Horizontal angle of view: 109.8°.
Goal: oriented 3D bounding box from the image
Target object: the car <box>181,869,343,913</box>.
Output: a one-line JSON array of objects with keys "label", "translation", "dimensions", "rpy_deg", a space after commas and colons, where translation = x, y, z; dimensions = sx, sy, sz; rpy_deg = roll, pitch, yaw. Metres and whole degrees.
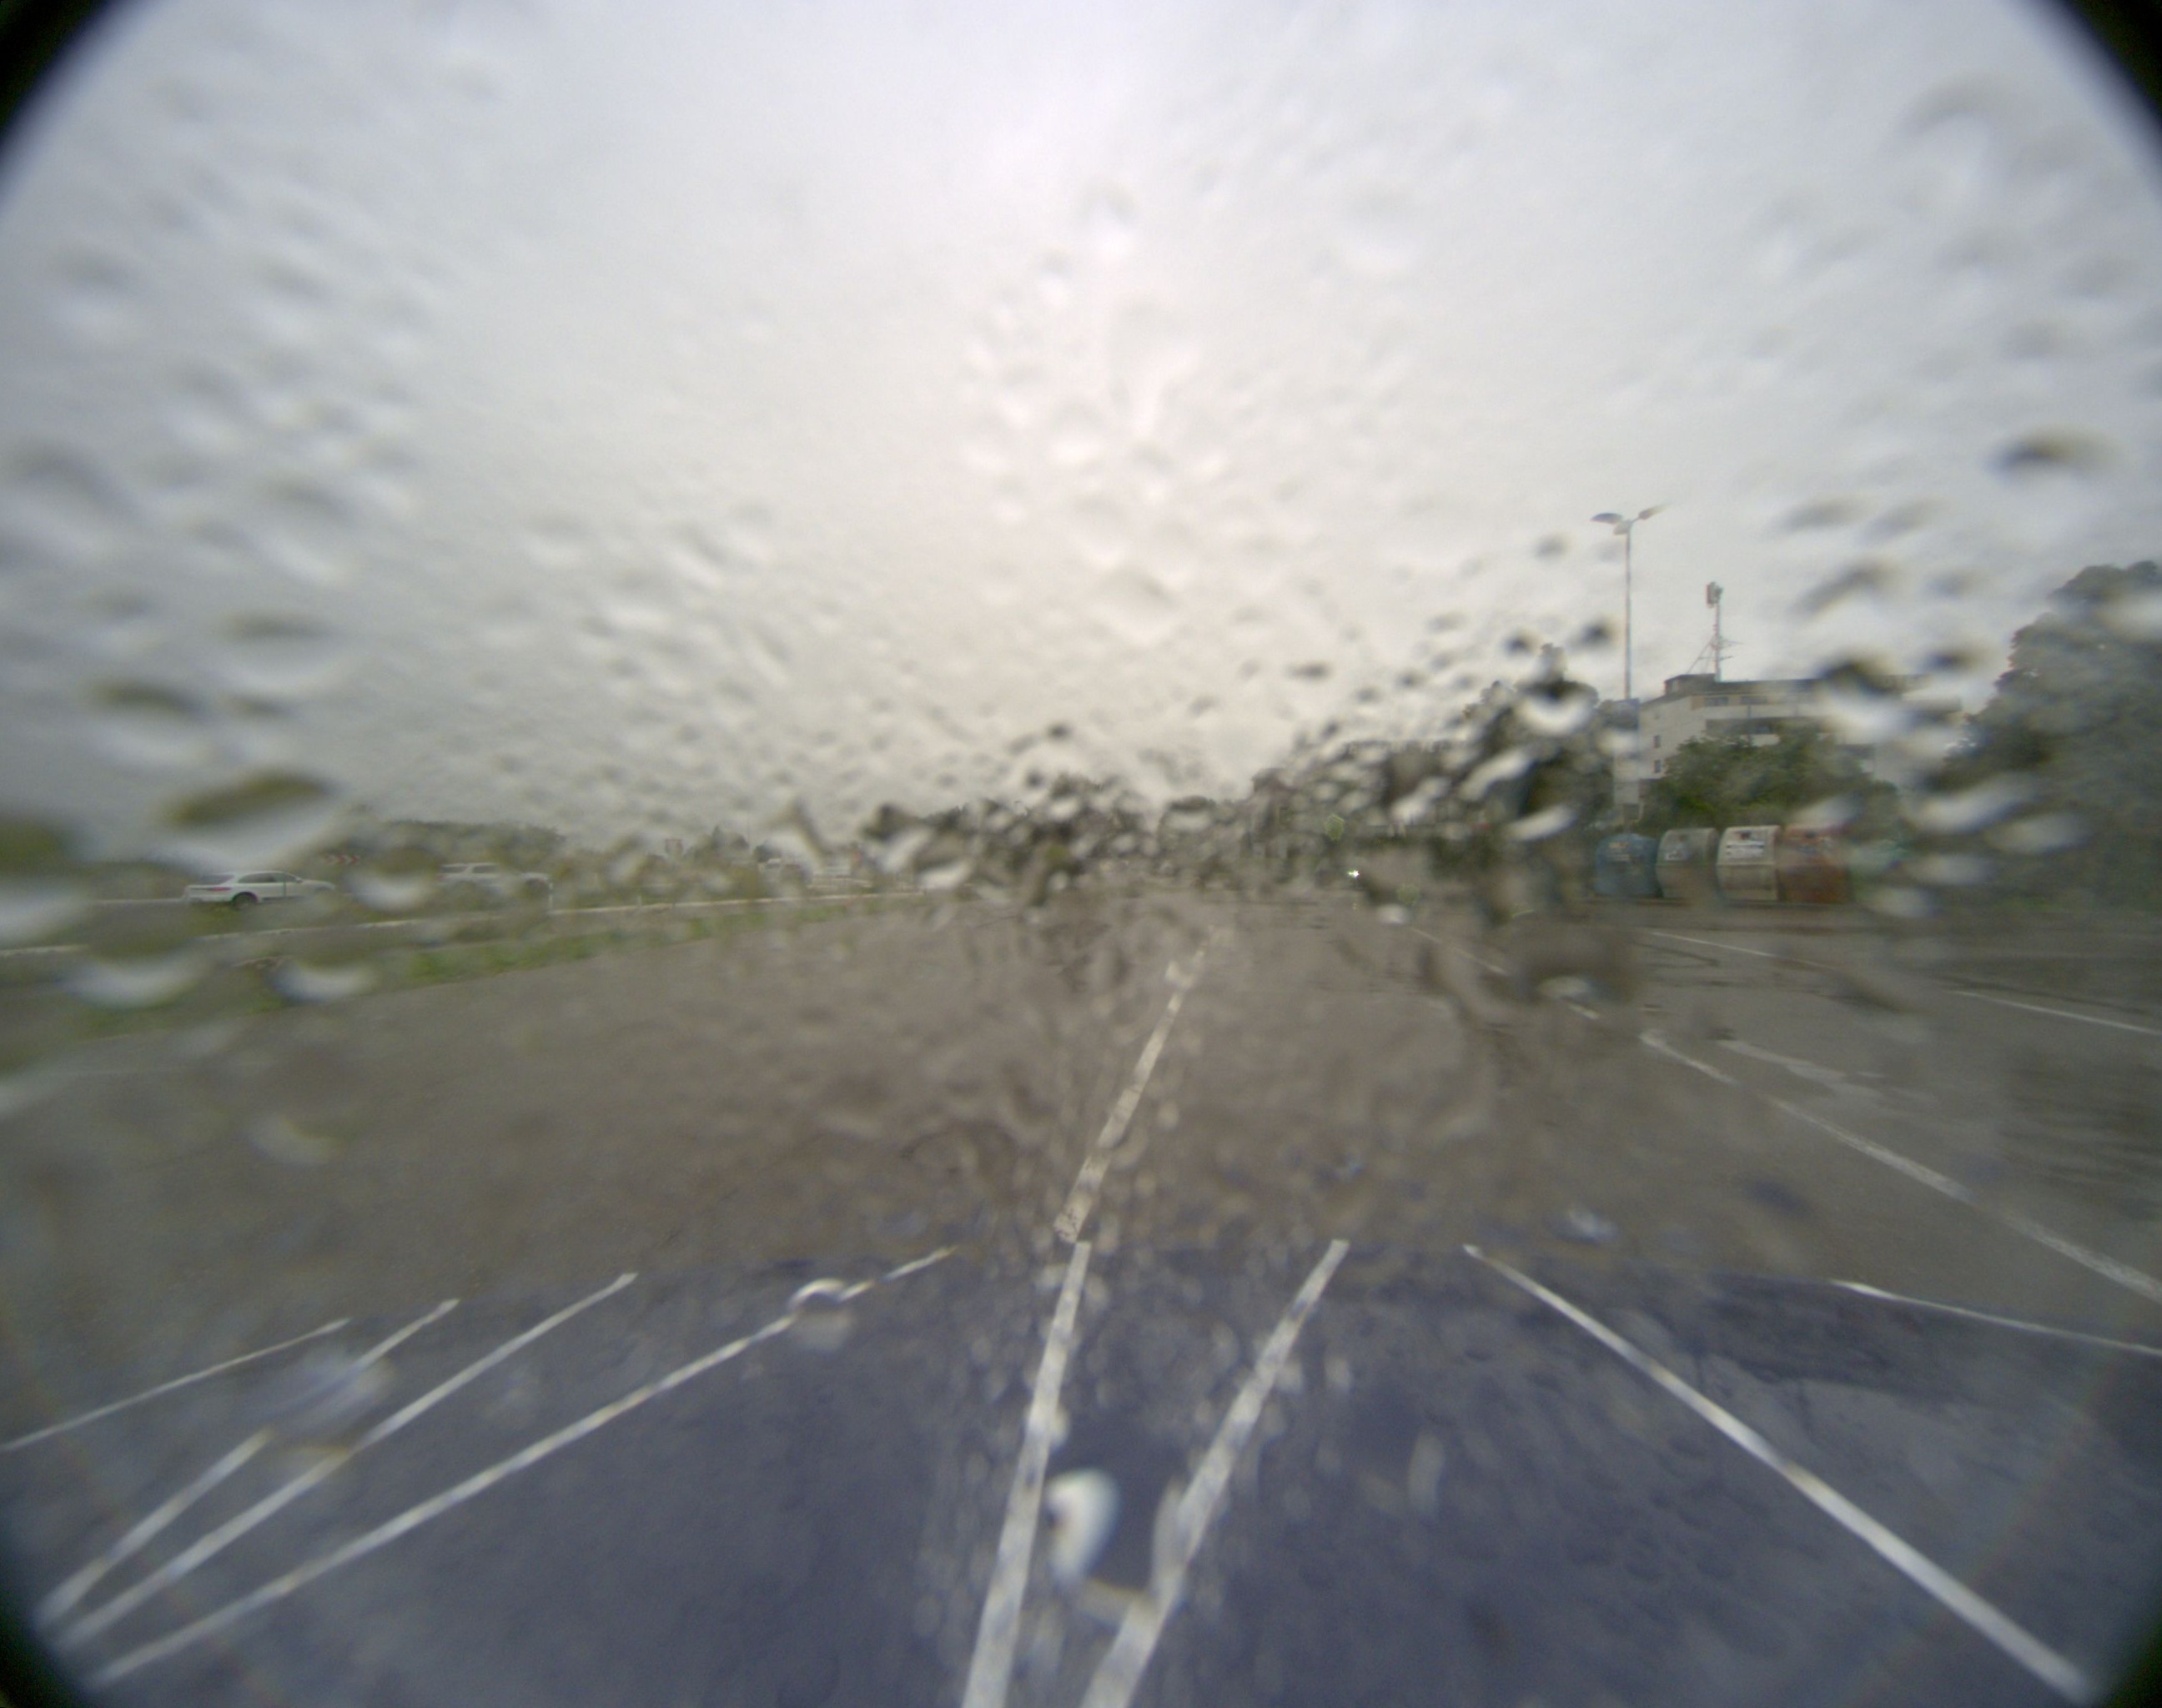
[{"label": "car", "translation": [-34.065, 1.490, 31.799], "dimensions": [1.691, 1.575, 4.388], "rpy_deg": [-1, 0, 7]}]

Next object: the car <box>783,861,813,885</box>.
[{"label": "car", "translation": [-22.704, 1.482, 61.089], "dimensions": [1.716, 1.805, 3.711], "rpy_deg": [-2, 0, -13]}]

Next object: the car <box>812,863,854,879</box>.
[{"label": "car", "translation": [-29.175, 1.950, 89.355], "dimensions": [1.744, 1.748, 4.376], "rpy_deg": [-2, -1, 39]}]

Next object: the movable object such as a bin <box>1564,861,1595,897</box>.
[{"label": "movable object such as a bin", "translation": [13.174, 0.650, 20.091], "dimensions": [0.450, 0.912, 0.488], "rpy_deg": [-2, 1, -11]}]

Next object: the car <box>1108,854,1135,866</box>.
[{"label": "car", "translation": [5.454, 0.794, 101.846], "dimensions": [1.588, 1.449, 3.670], "rpy_deg": [-2, 0, -38]}]

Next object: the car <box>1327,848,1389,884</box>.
[{"label": "car", "translation": [11.719, 0.470, 32.368], "dimensions": [1.777, 1.425, 4.081], "rpy_deg": [-1, 0, 10]}]

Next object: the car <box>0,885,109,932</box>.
[{"label": "car", "translation": [-33.668, 1.726, 23.635], "dimensions": [1.693, 1.318, 4.042], "rpy_deg": [-2, 0, -3]}]

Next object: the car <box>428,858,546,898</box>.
[{"label": "car", "translation": [-31.092, 1.200, 39.878], "dimensions": [4.654, 1.862, 1.994], "rpy_deg": [-2, 0, -44]}]

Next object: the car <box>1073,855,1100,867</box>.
[{"label": "car", "translation": [0.682, 0.966, 101.698], "dimensions": [1.588, 1.449, 3.670], "rpy_deg": [-2, 0, -38]}]

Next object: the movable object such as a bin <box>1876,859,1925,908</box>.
[{"label": "movable object such as a bin", "translation": [15.904, 0.571, 14.757], "dimensions": [0.494, 0.915, 0.416], "rpy_deg": [-1, 1, 0]}]

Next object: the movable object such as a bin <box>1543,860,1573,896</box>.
[{"label": "movable object such as a bin", "translation": [12.920, 0.643, 20.585], "dimensions": [0.450, 0.933, 0.488], "rpy_deg": [-2, 1, -11]}]

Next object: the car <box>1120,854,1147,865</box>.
[{"label": "car", "translation": [7.064, 0.725, 103.199], "dimensions": [1.588, 1.449, 3.670], "rpy_deg": [-2, 0, -38]}]

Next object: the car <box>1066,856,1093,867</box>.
[{"label": "car", "translation": [-0.208, 0.980, 99.569], "dimensions": [1.559, 1.449, 3.670], "rpy_deg": [-2, 0, -38]}]

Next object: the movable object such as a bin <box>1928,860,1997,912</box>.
[{"label": "movable object such as a bin", "translation": [16.151, 0.572, 13.933], "dimensions": [0.630, 0.915, 0.557], "rpy_deg": [-1, 1, 0]}]

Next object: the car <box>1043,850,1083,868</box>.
[{"label": "car", "translation": [-2.105, 0.602, 89.171], "dimensions": [4.529, 2.021, 1.646], "rpy_deg": [-1, 1, 8]}]

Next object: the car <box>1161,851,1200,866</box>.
[{"label": "car", "translation": [10.857, 0.525, 82.811], "dimensions": [4.183, 1.489, 1.719], "rpy_deg": [-2, 0, 8]}]
